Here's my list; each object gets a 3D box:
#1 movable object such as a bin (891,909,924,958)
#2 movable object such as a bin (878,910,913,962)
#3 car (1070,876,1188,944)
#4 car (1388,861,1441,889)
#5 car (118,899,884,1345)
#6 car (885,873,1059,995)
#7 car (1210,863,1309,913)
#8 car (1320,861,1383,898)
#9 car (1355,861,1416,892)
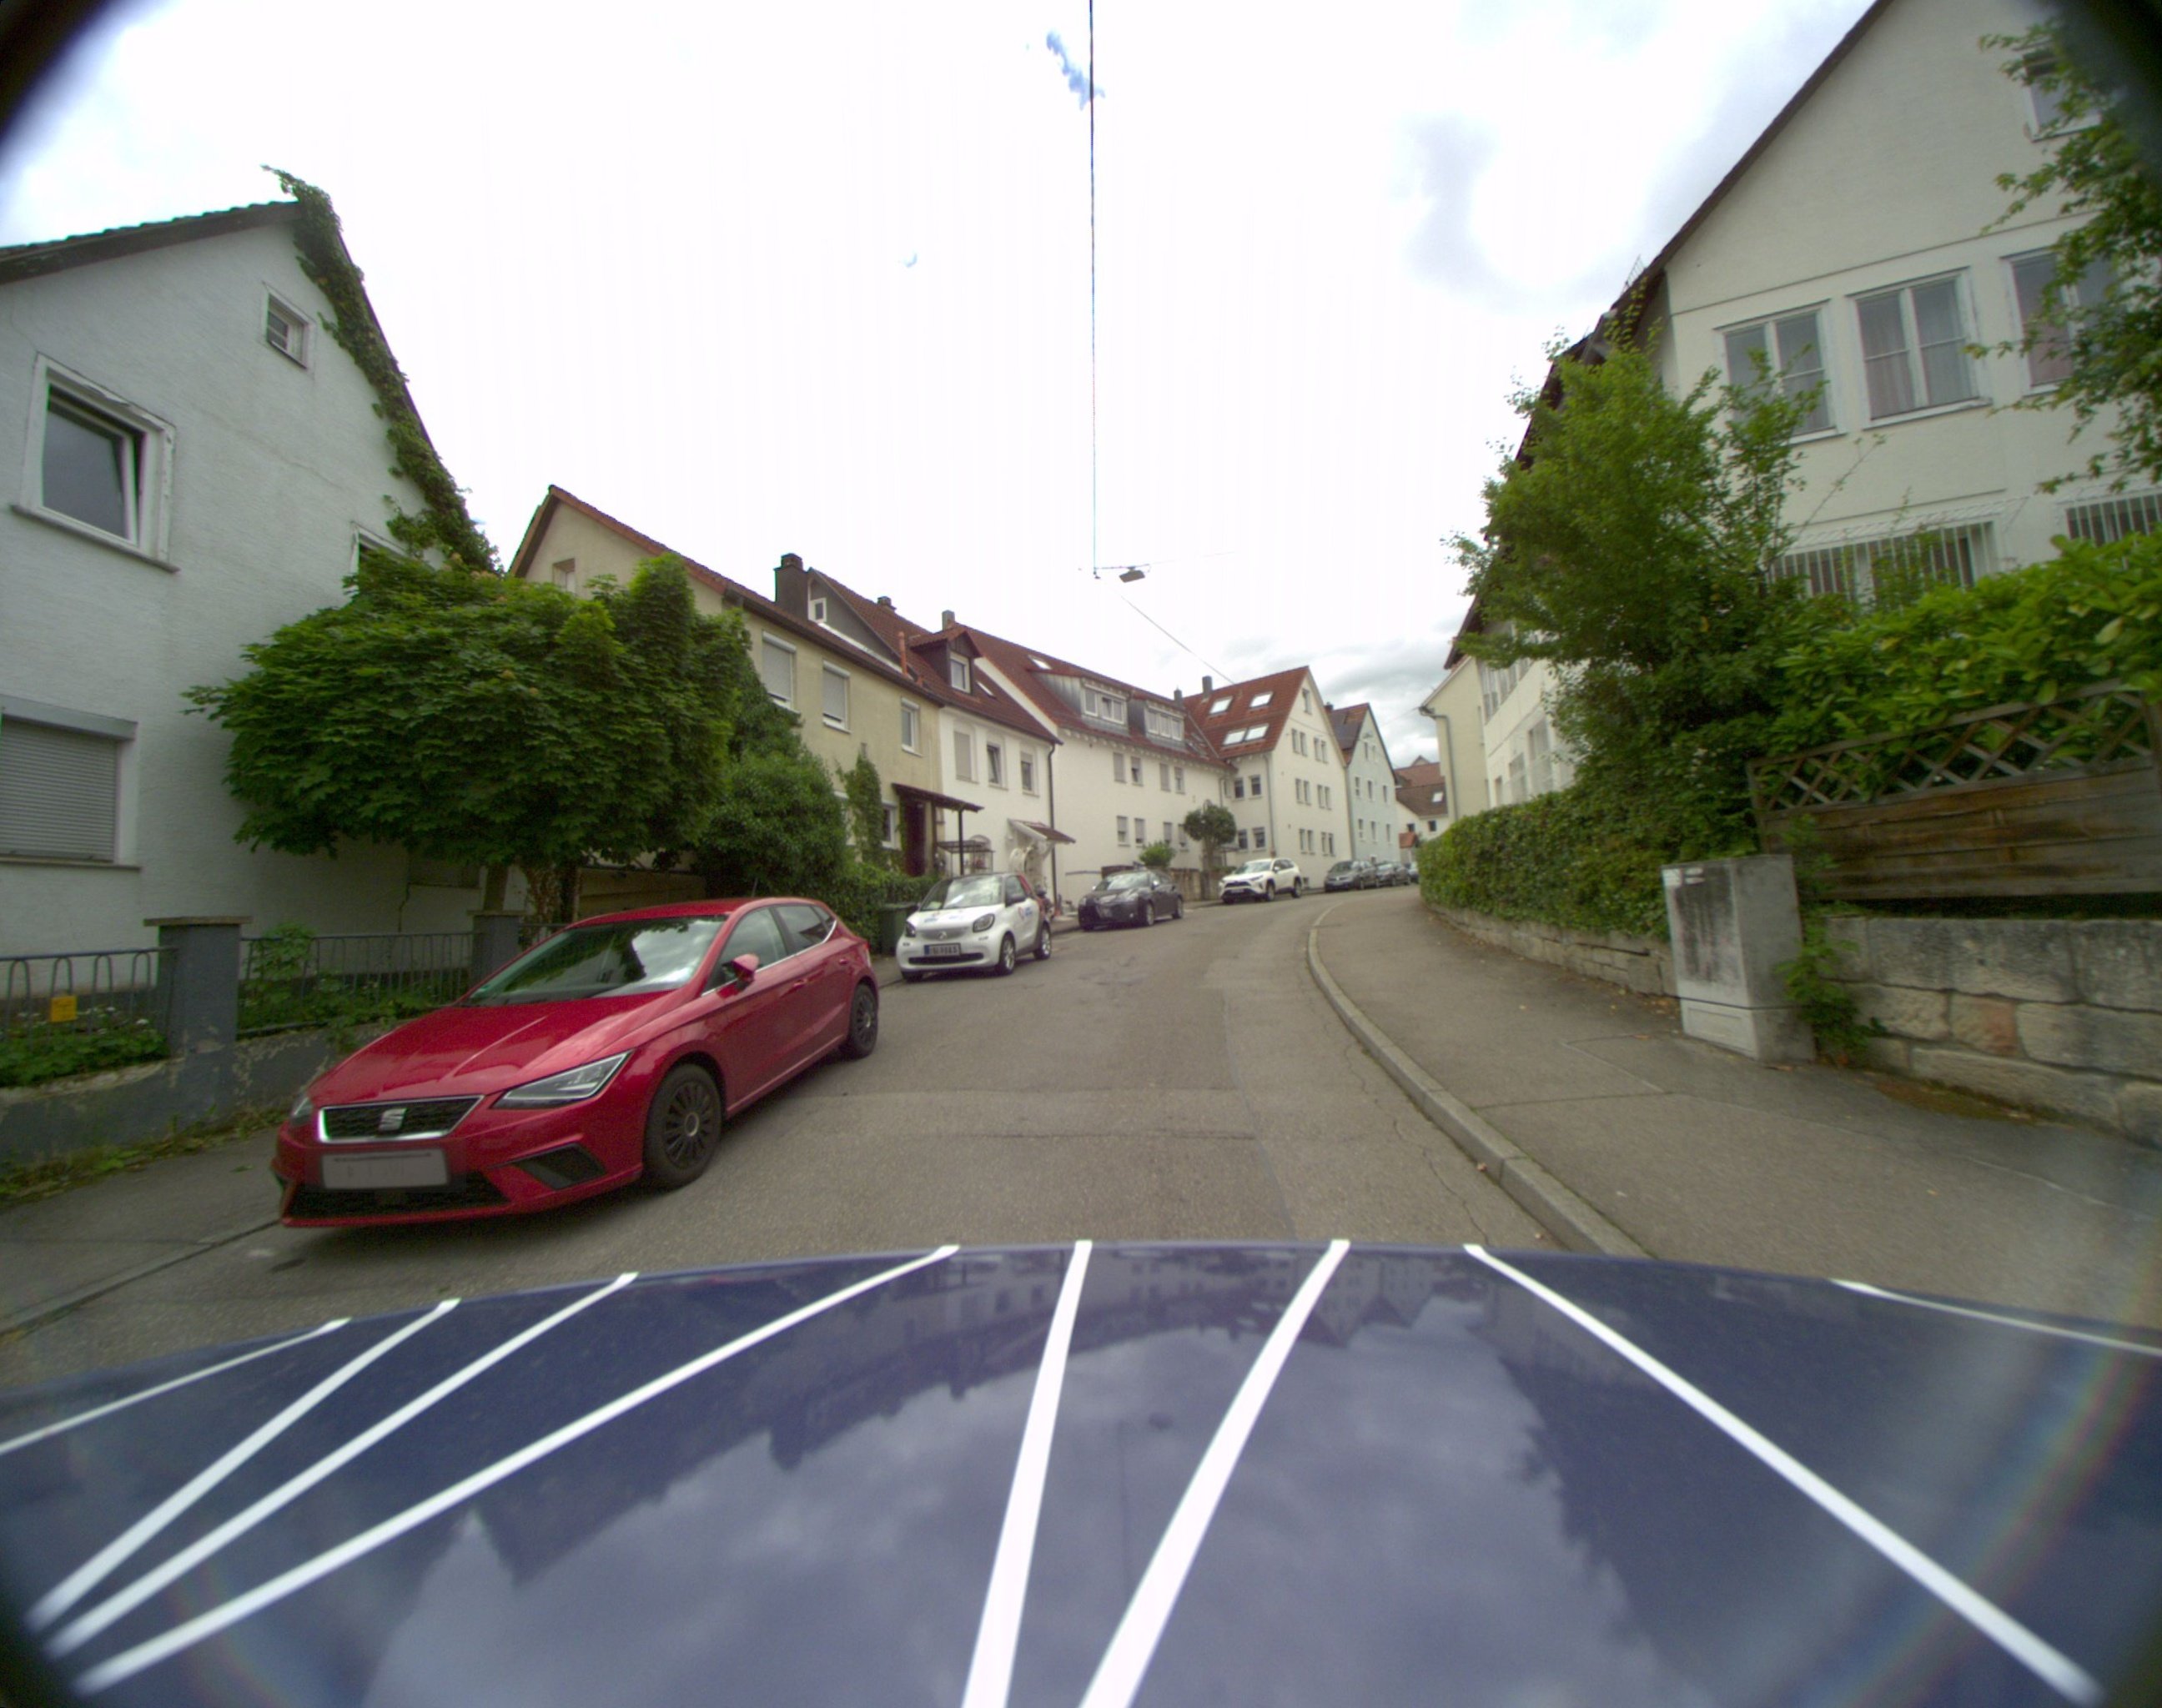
[{"bbox_3d":[-3.342,1.522,14.644,0.438,0.893,0.446,-1,1,19],"label":"movable object such as a bin"},{"bbox_3d":[-3.452,1.511,14.153,0.438,0.908,0.446,-1,1,19],"label":"movable object such as a bin"},{"bbox_3d":[1.366,1.401,19.863,1.720,1.398,4.010,-6,-3,23],"label":"car"},{"bbox_3d":[20.037,1.245,45.565,1.727,1.433,4.274,-9,-6,37],"label":"car"},{"bbox_3d":[-2.797,1.178,4.891,1.682,1.443,3.853,-5,0,4],"label":"car"},{"bbox_3d":[-1.608,1.183,12.162,1.614,1.523,2.900,-7,-2,14],"label":"car"},{"bbox_3d":[7.001,1.263,29.450,1.948,1.629,4.470,-8,-5,36],"label":"car"},{"bbox_3d":[13.387,1.245,37.478,1.737,1.553,3.917,-9,-5,36],"label":"car"},{"bbox_3d":[16.700,1.218,41.537,1.810,1.433,3.967,-9,-5,39],"label":"car"}]
